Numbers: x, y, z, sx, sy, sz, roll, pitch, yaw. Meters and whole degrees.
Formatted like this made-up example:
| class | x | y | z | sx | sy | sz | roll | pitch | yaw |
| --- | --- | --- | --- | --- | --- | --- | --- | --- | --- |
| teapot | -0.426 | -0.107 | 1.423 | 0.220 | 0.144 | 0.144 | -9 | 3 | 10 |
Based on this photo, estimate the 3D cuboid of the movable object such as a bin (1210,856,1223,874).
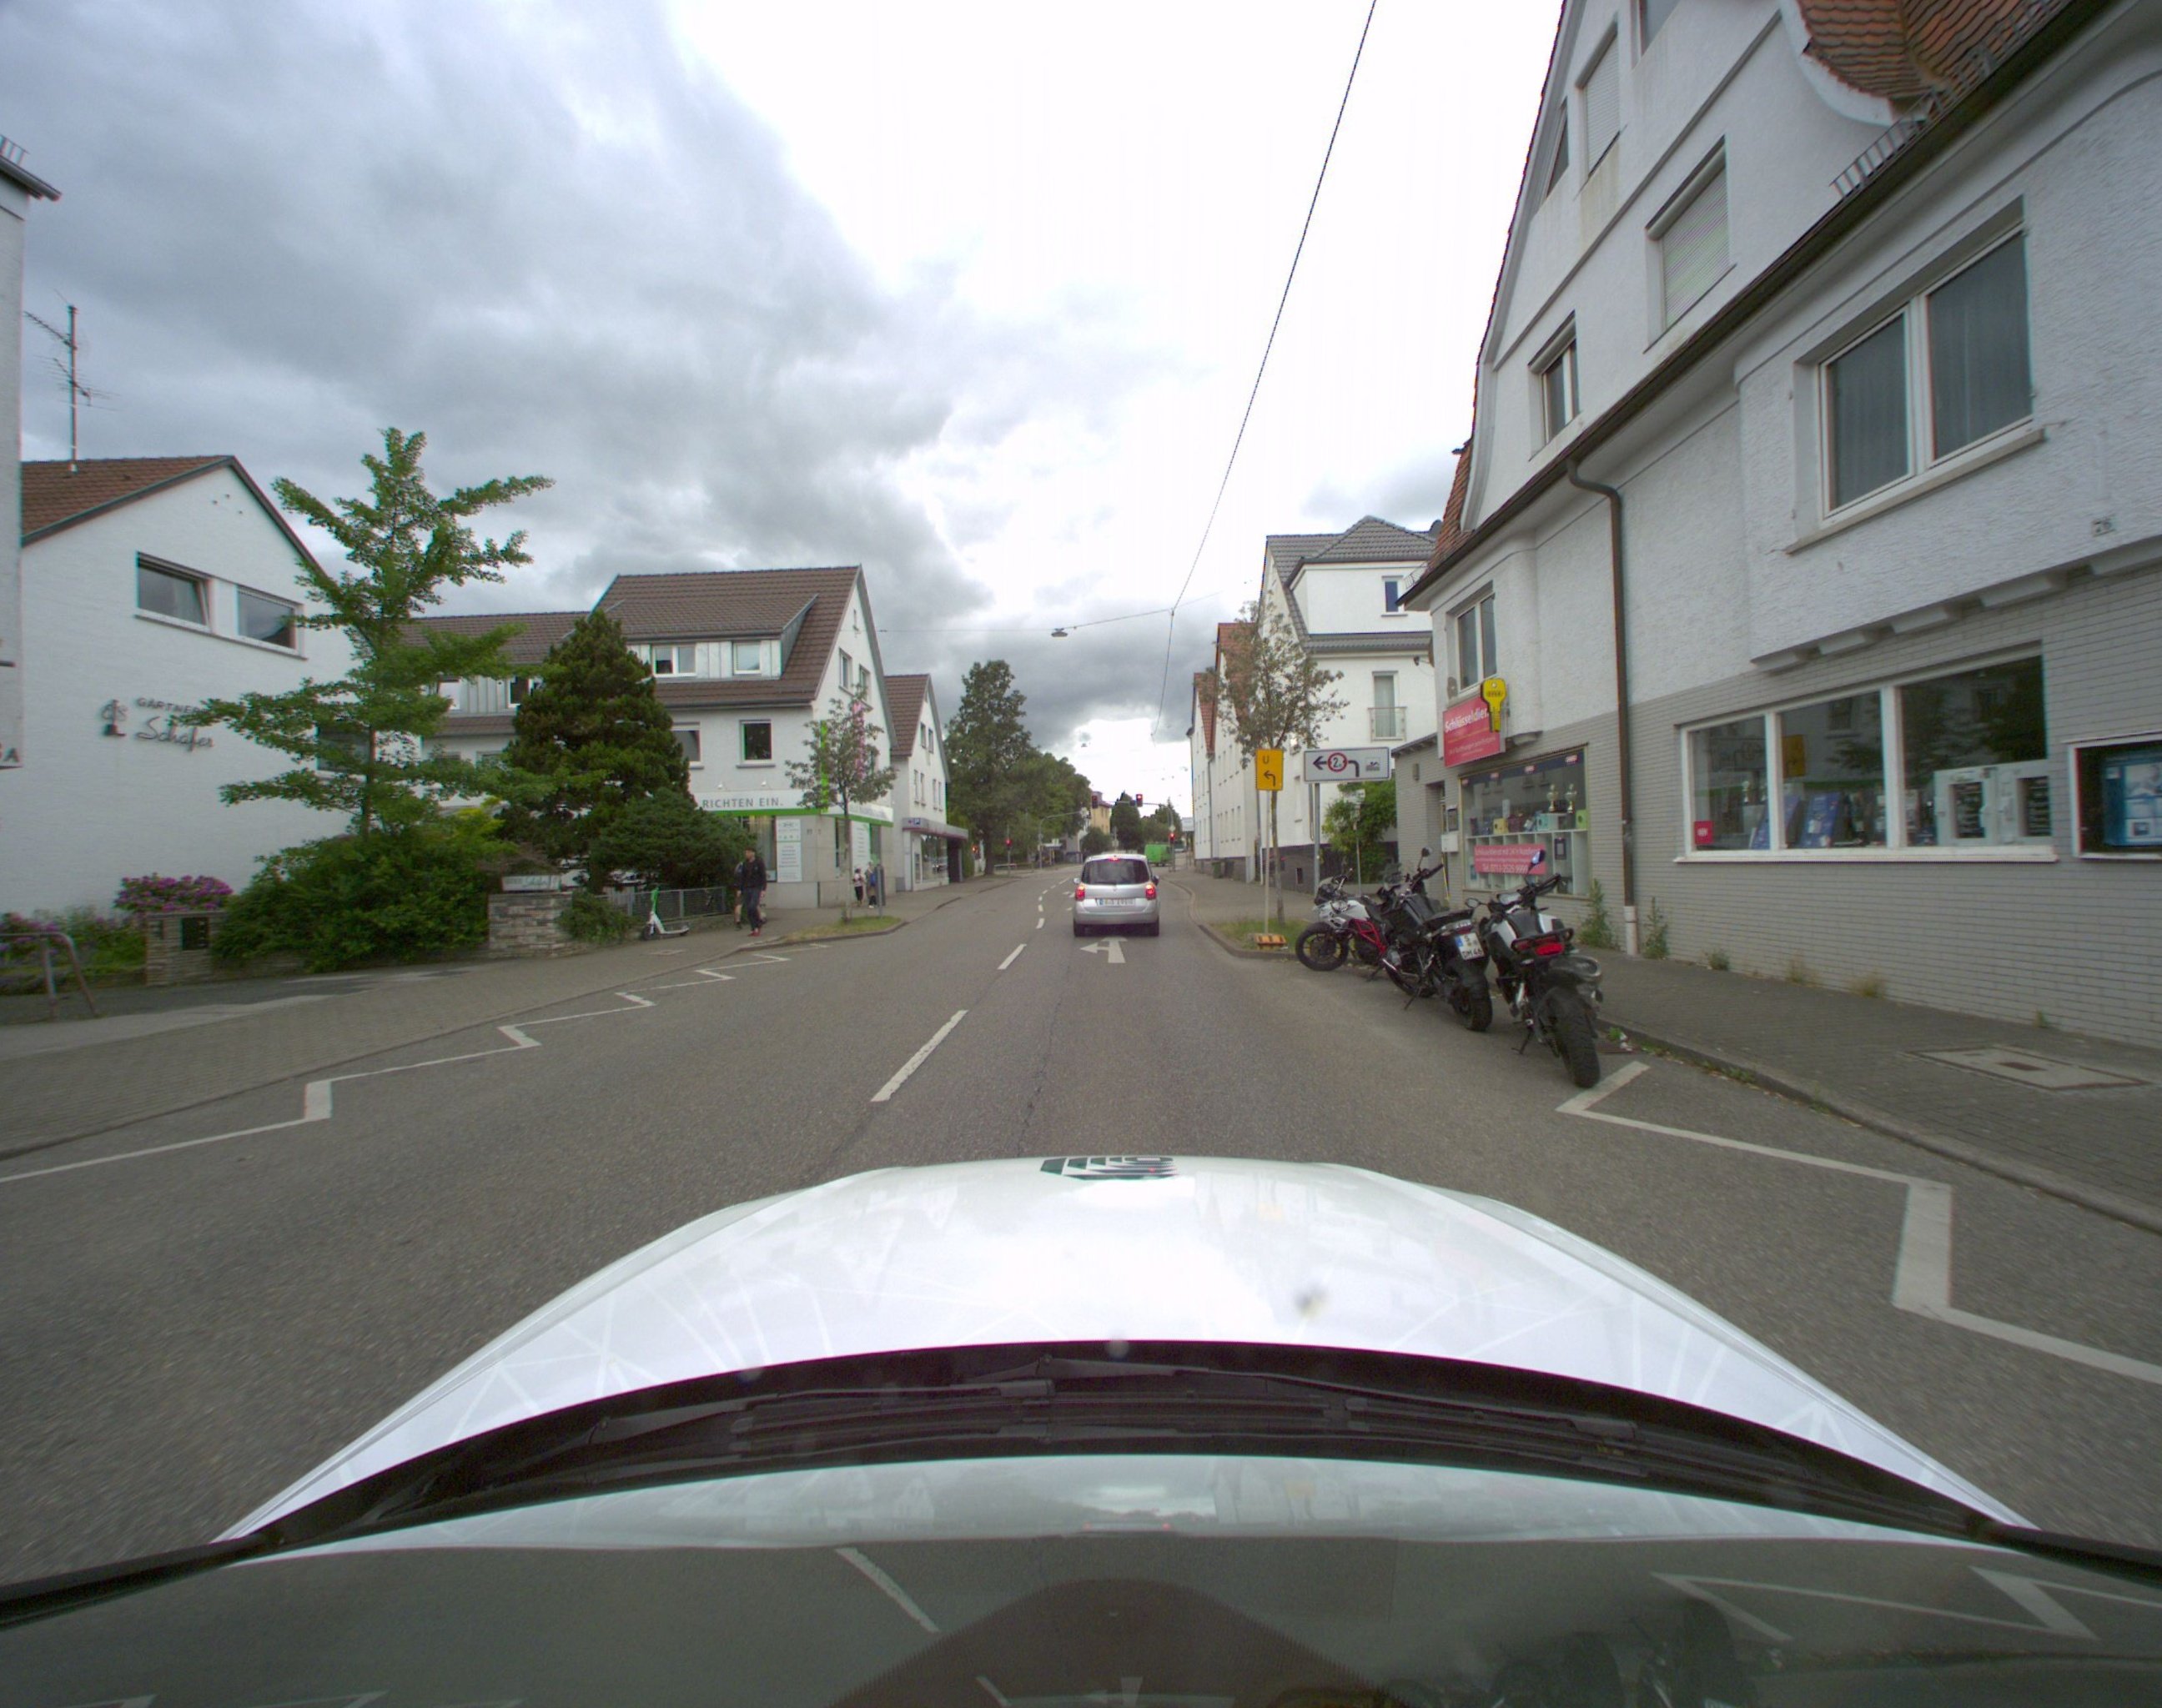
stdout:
| class | x | y | z | sx | sy | sz | roll | pitch | yaw |
| --- | --- | --- | --- | --- | --- | --- | --- | --- | --- |
| movable object such as a bin | 7.235 | 0.597 | 43.525 | 0.537 | 0.941 | 0.487 | -5 | -1 | 3 |

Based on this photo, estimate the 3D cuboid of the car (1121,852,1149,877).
| class | x | y | z | sx | sy | sz | roll | pitch | yaw |
| --- | --- | --- | --- | --- | --- | --- | --- | --- | --- |
| car | 3.600 | 0.688 | 54.288 | 1.748 | 1.530 | 3.800 | -2 | 0 | 3 |

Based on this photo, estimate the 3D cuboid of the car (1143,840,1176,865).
| class | x | y | z | sx | sy | sz | roll | pitch | yaw |
| --- | --- | --- | --- | --- | --- | --- | --- | --- | --- |
| car | 8.320 | -0.120 | 86.103 | 2.042 | 2.512 | 5.623 | -2 | 0 | 20 |

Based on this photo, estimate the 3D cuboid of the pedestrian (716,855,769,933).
| class | x | y | z | sx | sy | sz | roll | pitch | yaw |
| --- | --- | --- | --- | --- | --- | --- | --- | --- | --- |
| pedestrian | -7.848 | 0.903 | 18.908 | 0.748 | 1.743 | 1.020 | 0 | 0 | 2 |

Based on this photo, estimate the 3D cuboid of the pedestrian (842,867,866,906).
| class | x | y | z | sx | sy | sz | roll | pitch | yaw |
| --- | --- | --- | --- | --- | --- | --- | --- | --- | --- |
| pedestrian | -7.655 | 1.074 | 27.454 | 0.597 | 1.279 | 0.655 | -1 | 0 | 2 |

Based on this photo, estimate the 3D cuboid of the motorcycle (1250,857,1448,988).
| class | x | y | z | sx | sy | sz | roll | pitch | yaw |
| --- | --- | --- | --- | --- | --- | --- | --- | --- | --- |
| motorcycle | 3.142 | 0.746 | 9.815 | 0.779 | 1.381 | 2.219 | -1 | 0 | -35 |

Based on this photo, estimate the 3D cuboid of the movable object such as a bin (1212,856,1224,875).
| class | x | y | z | sx | sy | sz | roll | pitch | yaw |
| --- | --- | --- | --- | --- | --- | --- | --- | --- | --- |
| movable object such as a bin | 7.228 | 0.597 | 42.987 | 0.537 | 0.941 | 0.487 | -5 | -1 | 3 |

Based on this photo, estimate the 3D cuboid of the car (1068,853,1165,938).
| class | x | y | z | sx | sy | sz | roll | pitch | yaw |
| --- | --- | --- | --- | --- | --- | --- | --- | --- | --- |
| car | 0.752 | 0.763 | 16.972 | 1.748 | 1.530 | 4.003 | -2 | 0 | 3 |

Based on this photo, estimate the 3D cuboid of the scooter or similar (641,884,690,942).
| class | x | y | z | sx | sy | sz | roll | pitch | yaw |
| --- | --- | --- | --- | --- | --- | --- | --- | --- | --- |
| scooter or similar | -8.598 | 1.203 | 16.874 | 0.338 | 1.111 | 1.181 | -1 | 0 | 3 |

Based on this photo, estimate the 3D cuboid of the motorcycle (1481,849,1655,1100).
| class | x | y | z | sx | sy | sz | roll | pitch | yaw |
| --- | --- | --- | --- | --- | --- | --- | --- | --- | --- |
| motorcycle | 3.432 | 0.697 | 5.964 | 0.642 | 1.440 | 2.482 | -2 | 0 | 21 |

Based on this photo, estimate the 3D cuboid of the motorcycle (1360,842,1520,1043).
| class | x | y | z | sx | sy | sz | roll | pitch | yaw |
| --- | --- | --- | --- | --- | --- | --- | --- | --- | --- |
| motorcycle | 3.177 | 0.677 | 7.511 | 0.667 | 1.524 | 2.604 | -2 | 0 | 9 |

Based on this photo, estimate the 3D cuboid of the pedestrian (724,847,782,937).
| class | x | y | z | sx | sy | sz | roll | pitch | yaw |
| --- | --- | --- | --- | --- | --- | --- | --- | --- | --- |
| pedestrian | -6.998 | 0.797 | 17.434 | 0.748 | 1.849 | 1.020 | 1 | 0 | 2 |

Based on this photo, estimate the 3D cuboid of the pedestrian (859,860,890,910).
| class | x | y | z | sx | sy | sz | roll | pitch | yaw |
| --- | --- | --- | --- | --- | --- | --- | --- | --- | --- |
| pedestrian | -6.911 | 1.030 | 27.277 | 0.748 | 1.617 | 0.793 | 1 | 0 | 2 |

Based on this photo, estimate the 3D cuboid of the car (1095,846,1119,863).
| class | x | y | z | sx | sy | sz | roll | pitch | yaw |
| --- | --- | --- | --- | --- | --- | --- | --- | --- | --- |
| car | 3.085 | 0.056 | 95.197 | 1.913 | 1.773 | 4.015 | -6 | -1 | 13 |
